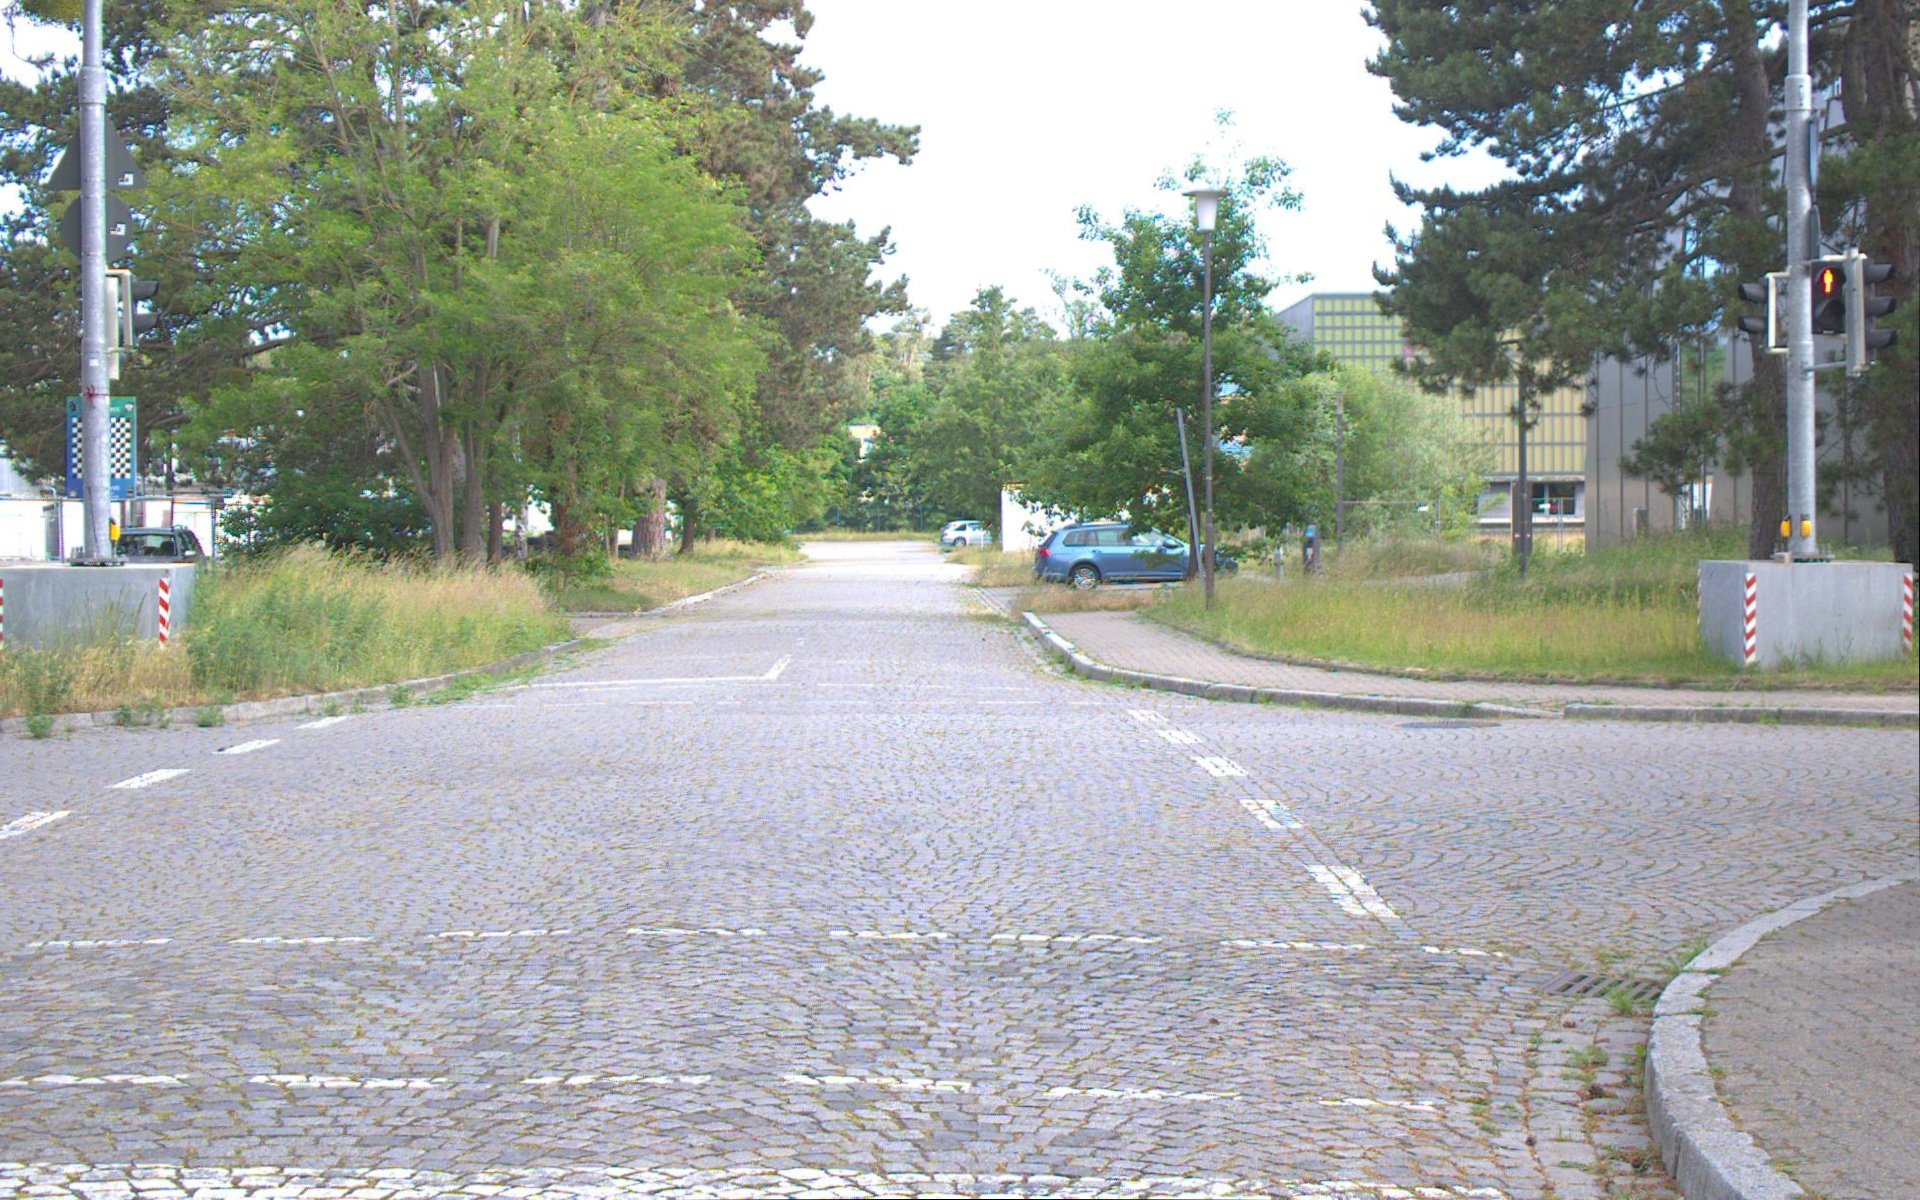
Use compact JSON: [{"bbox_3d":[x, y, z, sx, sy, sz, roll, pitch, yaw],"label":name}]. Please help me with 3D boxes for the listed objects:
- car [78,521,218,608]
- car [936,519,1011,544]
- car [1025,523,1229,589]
[{"bbox_3d":[-14.408,-0.652,61.177,1.613,1.482,4.000,0,1,-1],"label":"car"},{"bbox_3d":[0.749,-3.859,193.293,3.986,1.393,2.001,-1,1,-6],"label":"car"},{"bbox_3d":[3.684,-0.989,76.256,4.343,1.417,2.000,0,1,-3],"label":"car"}]
